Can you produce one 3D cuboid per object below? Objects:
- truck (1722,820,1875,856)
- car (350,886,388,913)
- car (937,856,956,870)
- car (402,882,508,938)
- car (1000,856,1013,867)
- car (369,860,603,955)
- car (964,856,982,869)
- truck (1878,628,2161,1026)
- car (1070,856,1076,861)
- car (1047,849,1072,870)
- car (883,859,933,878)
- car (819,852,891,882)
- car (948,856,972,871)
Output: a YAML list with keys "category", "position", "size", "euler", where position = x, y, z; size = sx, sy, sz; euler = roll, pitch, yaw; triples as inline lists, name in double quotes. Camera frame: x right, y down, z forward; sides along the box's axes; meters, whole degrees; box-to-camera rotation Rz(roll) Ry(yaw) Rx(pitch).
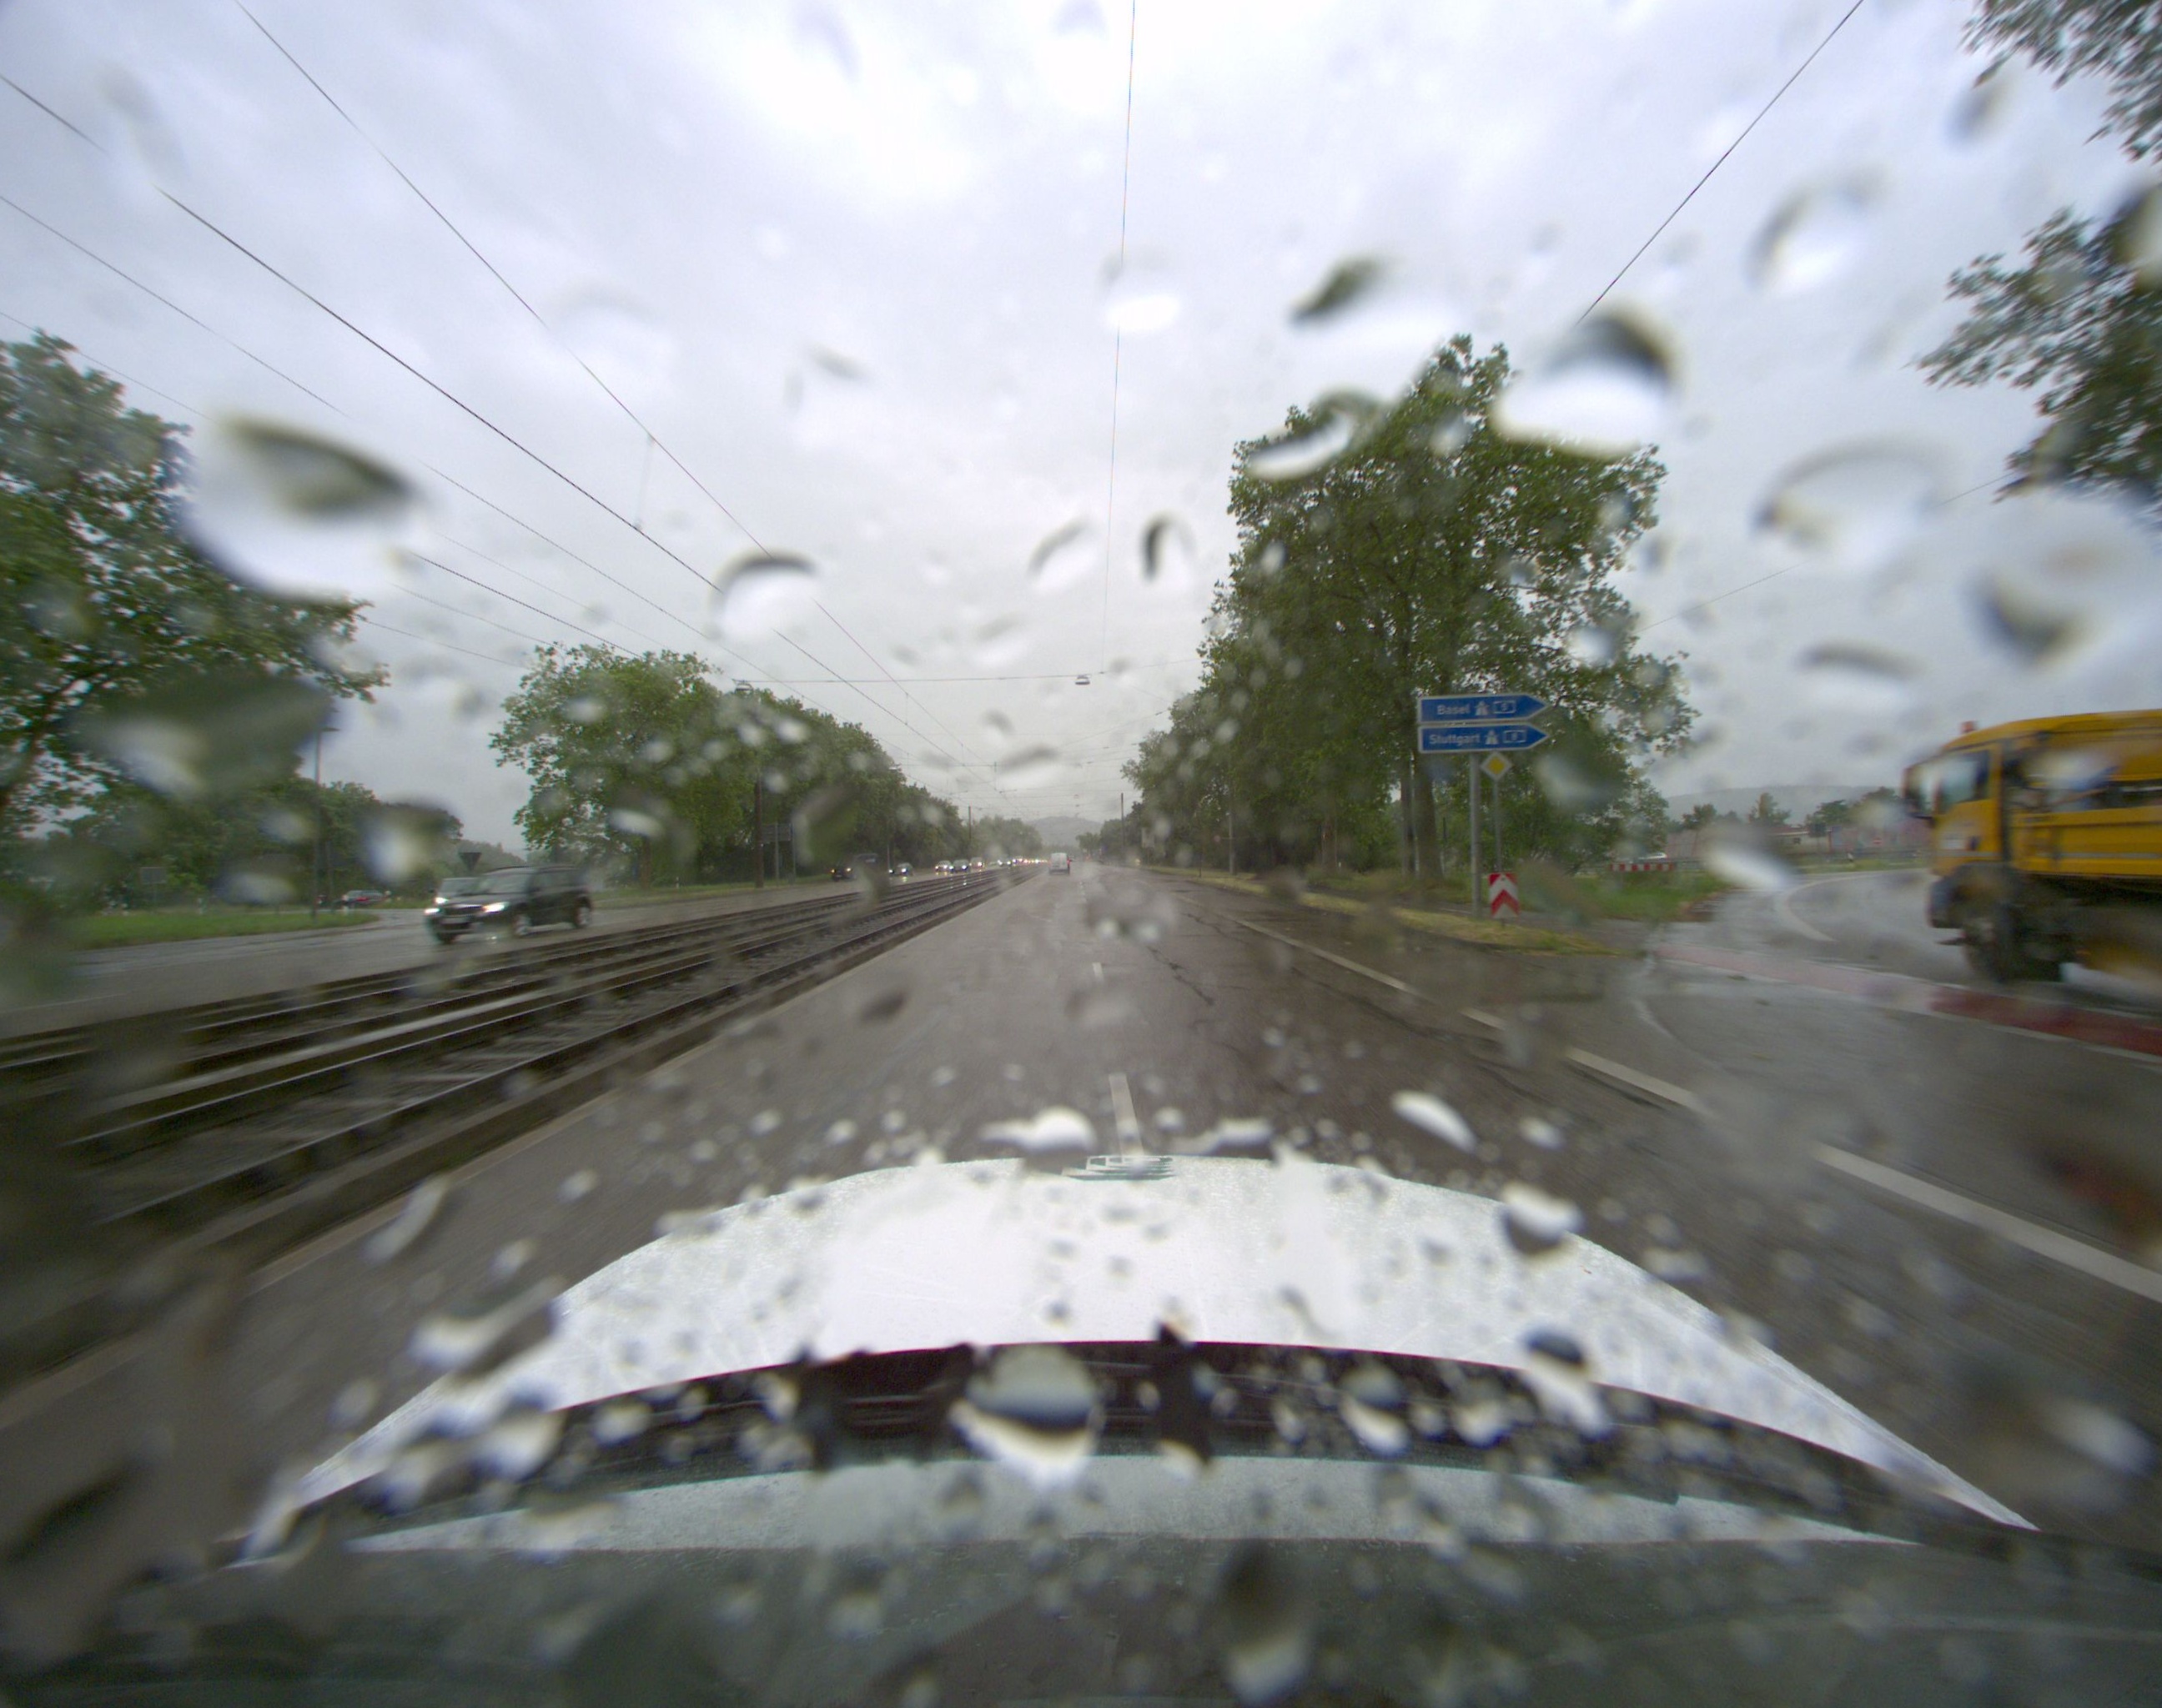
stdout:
- category: "truck"
  position: [106.633, -2.281, 121.628]
  size: [16.560, 4.159, 3.312]
  euler: [-4, -1, 30]
- category: "car"
  position: [-50.891, 3.243, 58.212]
  size: [3.572, 1.662, 1.672]
  euler: [1, 1, 43]
- category: "car"
  position: [-18.524, 1.236, 112.084]
  size: [1.814, 1.706, 5.019]
  euler: [0, 1, 0]
- category: "car"
  position: [-22.966, 1.982, 29.835]
  size: [4.590, 1.686, 1.859]
  euler: [1, 1, 36]
- category: "car"
  position: [-12.325, 1.200, 135.070]
  size: [1.770, 1.585, 5.680]
  euler: [0, 1, -1]
- category: "car"
  position: [-13.457, 1.090, 18.926]
  size: [1.882, 1.809, 5.001]
  euler: [0, 1, -2]
- category: "car"
  position: [-15.749, 1.217, 119.324]
  size: [1.814, 1.706, 6.103]
  euler: [0, 1, 0]
- category: "truck"
  position: [10.643, -0.241, 7.510]
  size: [2.532, 3.257, 6.973]
  euler: [0, 1, 25]
- category: "car"
  position: [-2.217, 1.211, 227.390]
  size: [1.738, 1.508, 3.699]
  euler: [0, 1, -1]
- category: "car"
  position: [-1.772, 0.471, 68.727]
  size: [1.982, 1.684, 3.741]
  euler: [0, 1, 1]
- category: "car"
  position: [-17.830, 1.473, 84.198]
  size: [2.063, 1.798, 4.794]
  euler: [0, 1, 39]
- category: "car"
  position: [-19.712, 1.064, 71.333]
  size: [2.309, 2.425, 5.886]
  euler: [0, 1, 38]
- category: "car"
  position: [-13.450, 1.015, 90.611]
  size: [1.784, 1.549, 5.314]
  euler: [0, 1, 1]
